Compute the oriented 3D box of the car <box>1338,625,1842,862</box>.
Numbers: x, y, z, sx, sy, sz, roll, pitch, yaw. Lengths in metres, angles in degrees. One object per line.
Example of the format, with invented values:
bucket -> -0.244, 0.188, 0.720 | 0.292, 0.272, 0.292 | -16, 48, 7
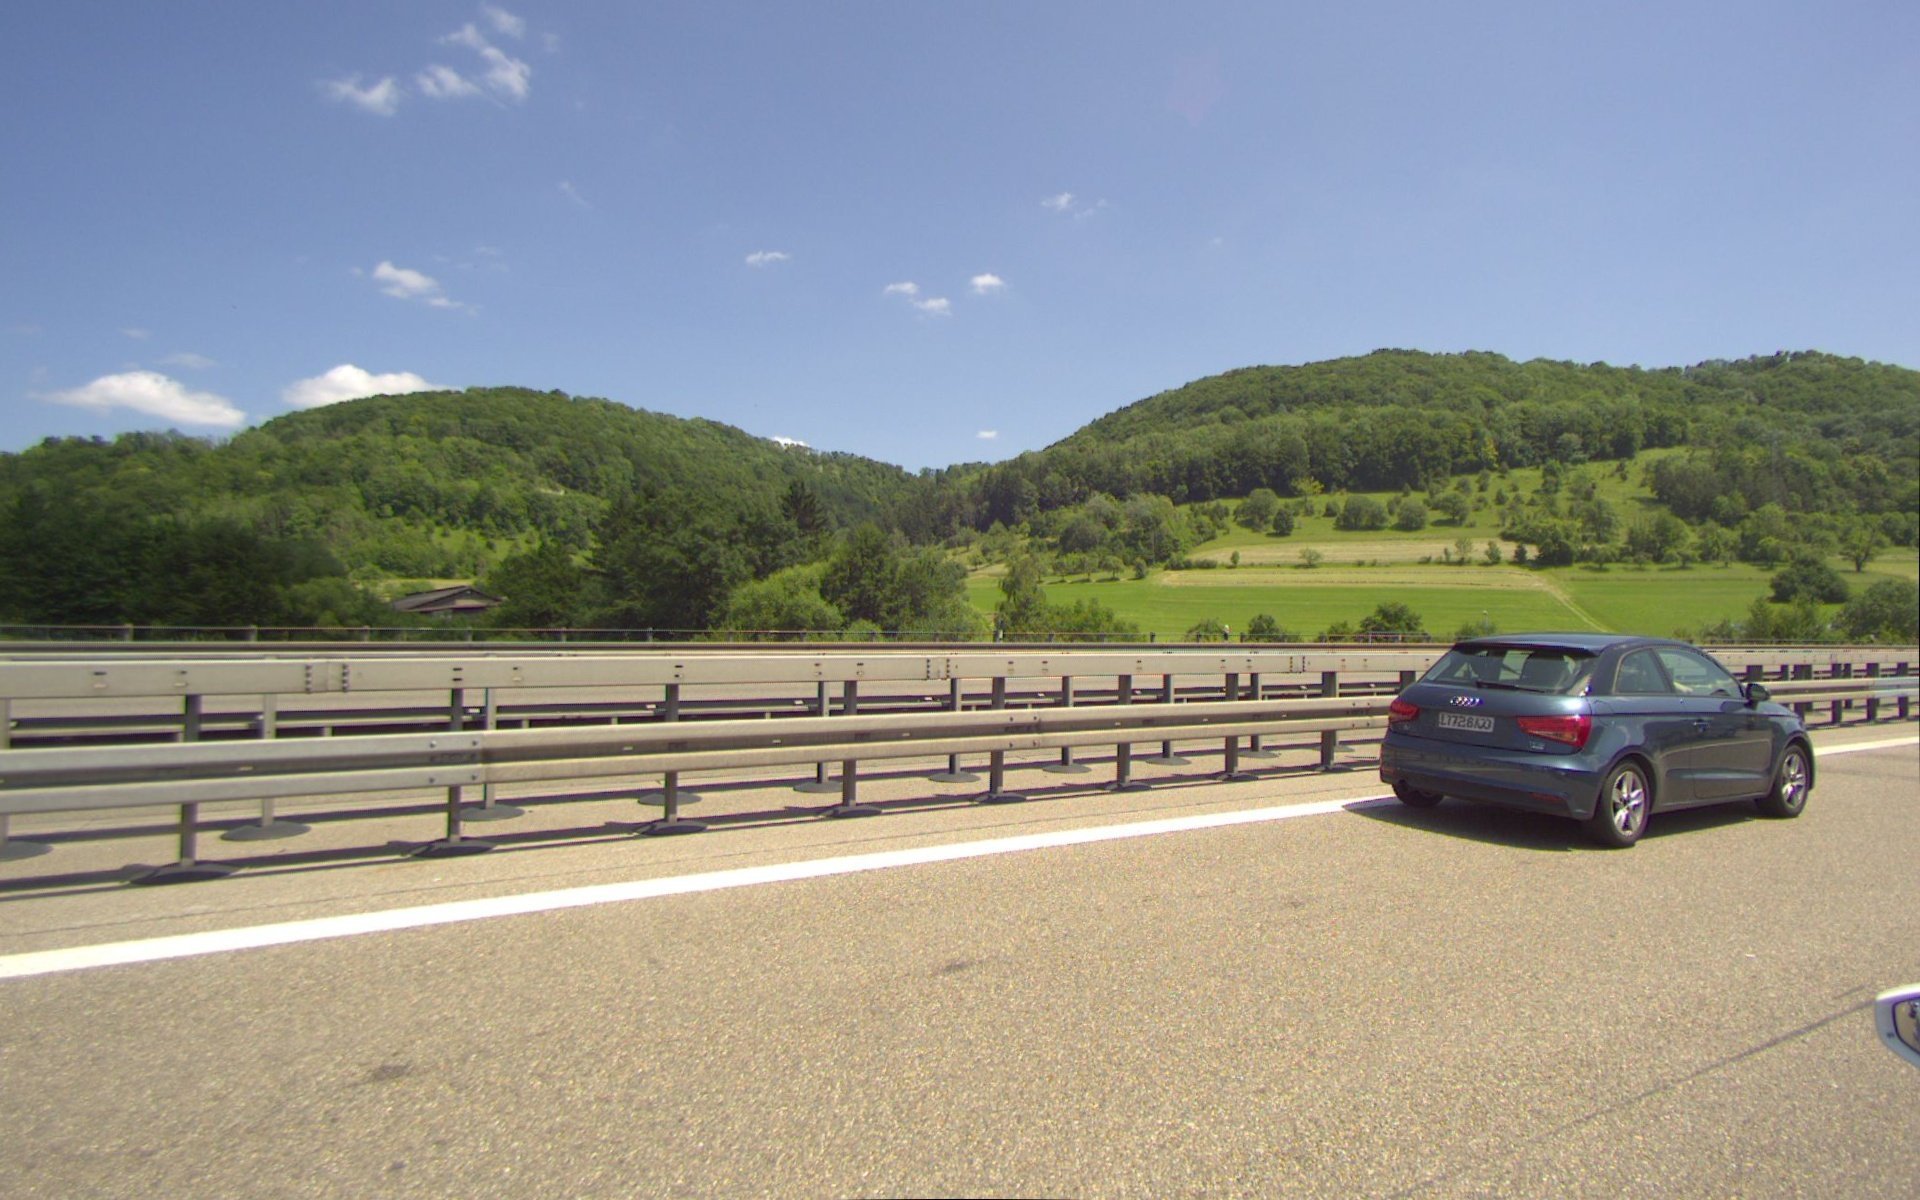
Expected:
car -> 4.968, 0.932, 7.816 | 3.953, 1.407, 1.681 | 2, -1, -30
